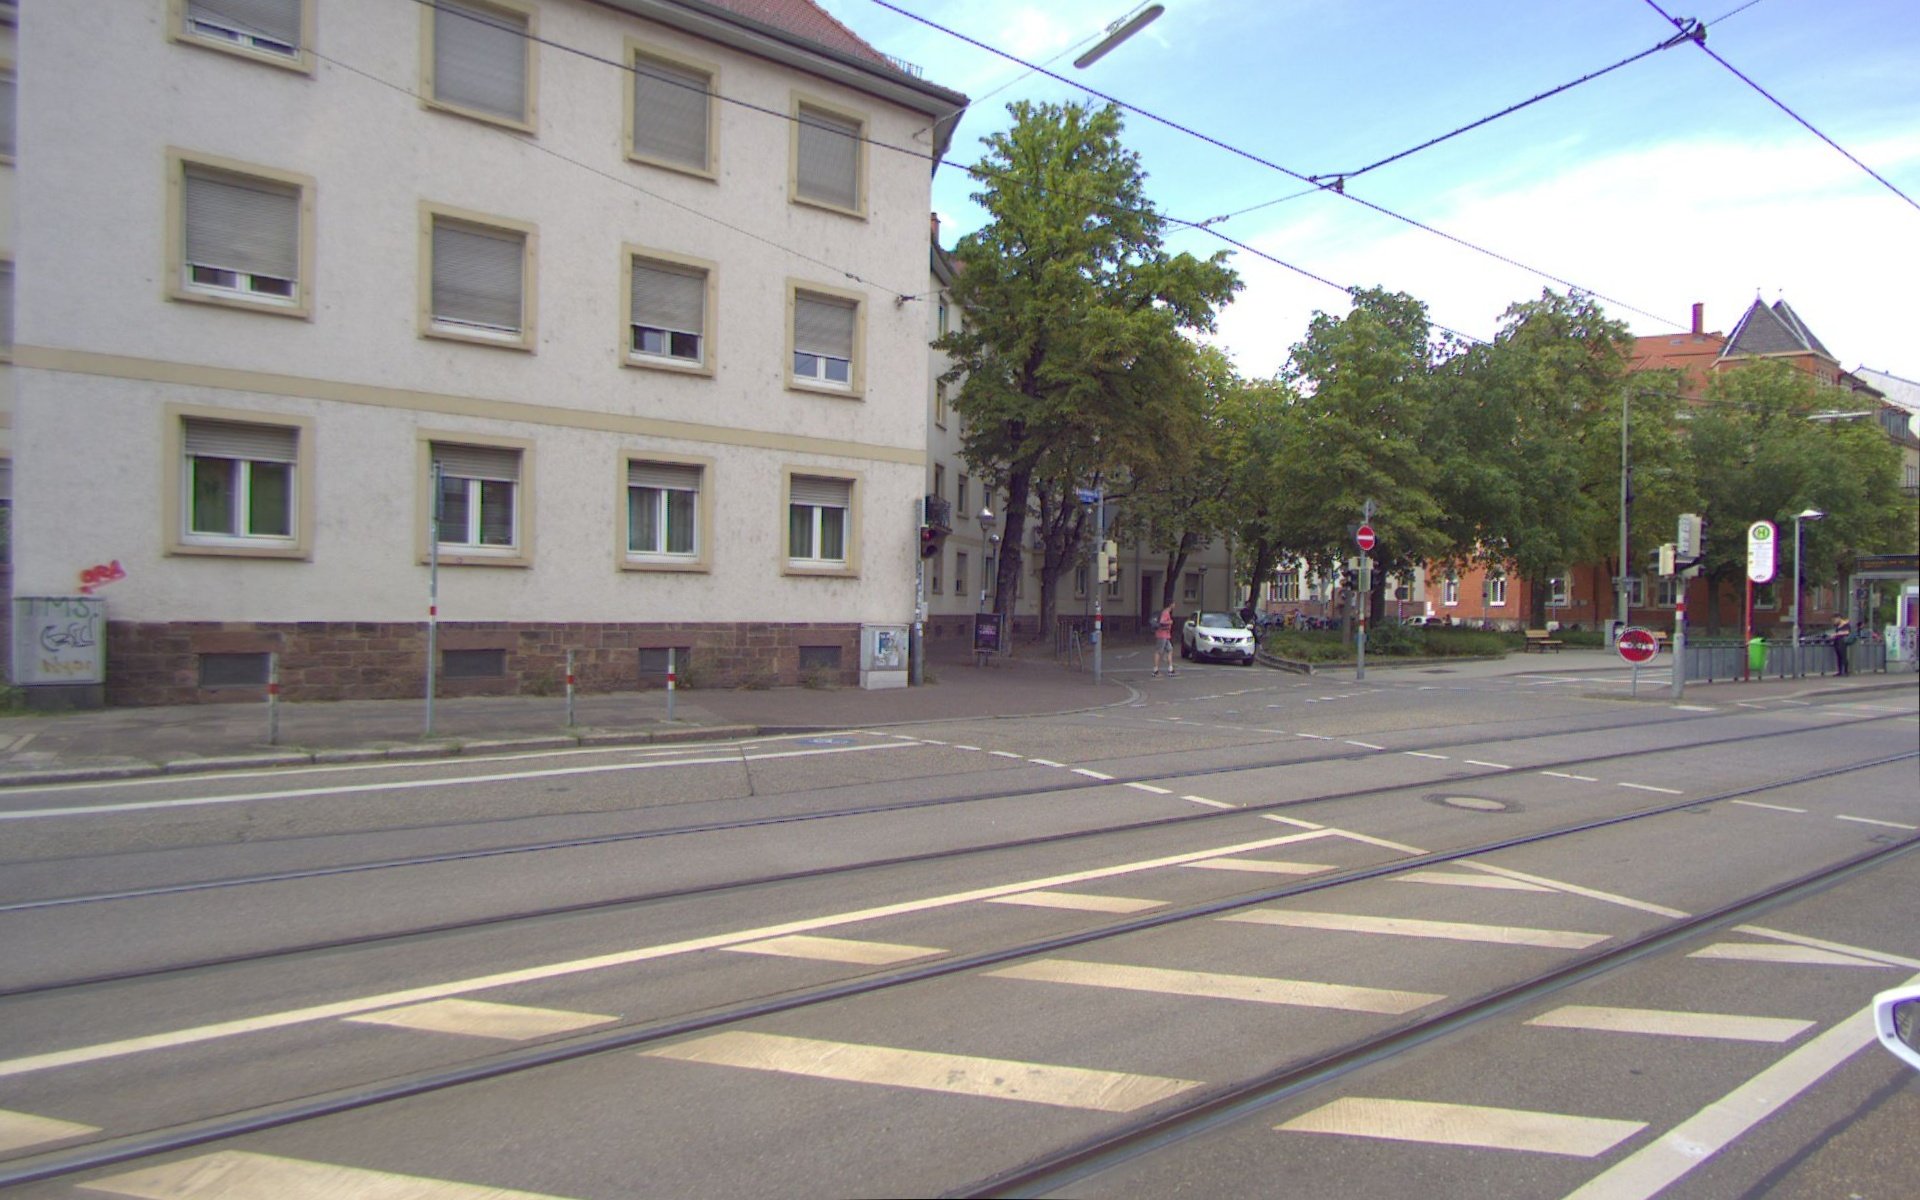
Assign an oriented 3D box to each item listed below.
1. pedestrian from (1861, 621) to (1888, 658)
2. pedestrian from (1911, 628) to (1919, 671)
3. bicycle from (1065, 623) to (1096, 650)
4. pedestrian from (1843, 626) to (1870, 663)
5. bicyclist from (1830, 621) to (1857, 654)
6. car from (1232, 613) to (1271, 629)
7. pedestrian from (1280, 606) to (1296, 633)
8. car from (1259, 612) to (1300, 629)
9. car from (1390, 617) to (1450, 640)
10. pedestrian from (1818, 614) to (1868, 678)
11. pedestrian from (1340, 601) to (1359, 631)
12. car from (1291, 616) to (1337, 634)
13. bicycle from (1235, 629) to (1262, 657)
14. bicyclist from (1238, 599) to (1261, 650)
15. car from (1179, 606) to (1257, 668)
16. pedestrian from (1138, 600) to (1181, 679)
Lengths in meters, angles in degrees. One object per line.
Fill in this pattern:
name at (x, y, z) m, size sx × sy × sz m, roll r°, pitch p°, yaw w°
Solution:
pedestrian at (44.065, 1.899, 48.400) m, size 0.726 × 1.725 × 0.826 m, roll 1°, pitch 0°, yaw -38°
pedestrian at (29.852, 1.516, 30.663) m, size 0.977 × 1.311 × 1.050 m, roll 1°, pitch -1°, yaw -38°
bicycle at (4.650, 1.386, 38.616) m, size 0.486 × 1.022 × 1.836 m, roll 1°, pitch 0°, yaw 31°
pedestrian at (41.968, 2.072, 47.007) m, size 0.726 × 1.725 × 0.826 m, roll 1°, pitch 0°, yaw -38°
bicyclist at (37.020, 1.557, 42.073) m, size 0.827 × 1.357 × 0.657 m, roll 1°, pitch 0°, yaw -33°
car at (26.622, 1.890, 91.799) m, size 1.783 × 1.414 × 3.993 m, roll 1°, pitch -1°, yaw -10°
pedestrian at (21.284, 1.264, 65.225) m, size 0.671 × 1.777 × 0.731 m, roll 1°, pitch 0°, yaw -12°
car at (27.593, 1.773, 86.874) m, size 1.783 × 1.414 × 3.993 m, roll 1°, pitch -1°, yaw -10°
car at (31.346, 1.922, 68.515) m, size 1.783 × 1.497 × 3.993 m, roll 1°, pitch -1°, yaw -10°
pedestrian at (23.251, 1.190, 26.462) m, size 0.836 × 1.642 × 0.845 m, roll 1°, pitch 0°, yaw -38°
pedestrian at (23.062, 0.938, 59.432) m, size 0.720 × 1.777 × 0.751 m, roll 1°, pitch 0°, yaw -15°
car at (28.694, 2.010, 81.454) m, size 1.783 × 1.414 × 3.993 m, roll 1°, pitch -1°, yaw -10°
bicycle at (10.443, 1.552, 36.274) m, size 0.597 × 0.949 × 1.574 m, roll 0°, pitch -1°, yaw 29°
bicyclist at (10.457, 0.879, 36.290) m, size 0.601 × 1.799 × 0.909 m, roll 0°, pitch 0°, yaw 29°
car at (8.019, 1.185, 31.567) m, size 1.804 × 1.743 × 4.163 m, roll 2°, pitch -2°, yaw 7°
pedestrian at (4.958, 0.973, 24.992) m, size 0.821 × 1.926 × 0.730 m, roll 1°, pitch 0°, yaw -15°
